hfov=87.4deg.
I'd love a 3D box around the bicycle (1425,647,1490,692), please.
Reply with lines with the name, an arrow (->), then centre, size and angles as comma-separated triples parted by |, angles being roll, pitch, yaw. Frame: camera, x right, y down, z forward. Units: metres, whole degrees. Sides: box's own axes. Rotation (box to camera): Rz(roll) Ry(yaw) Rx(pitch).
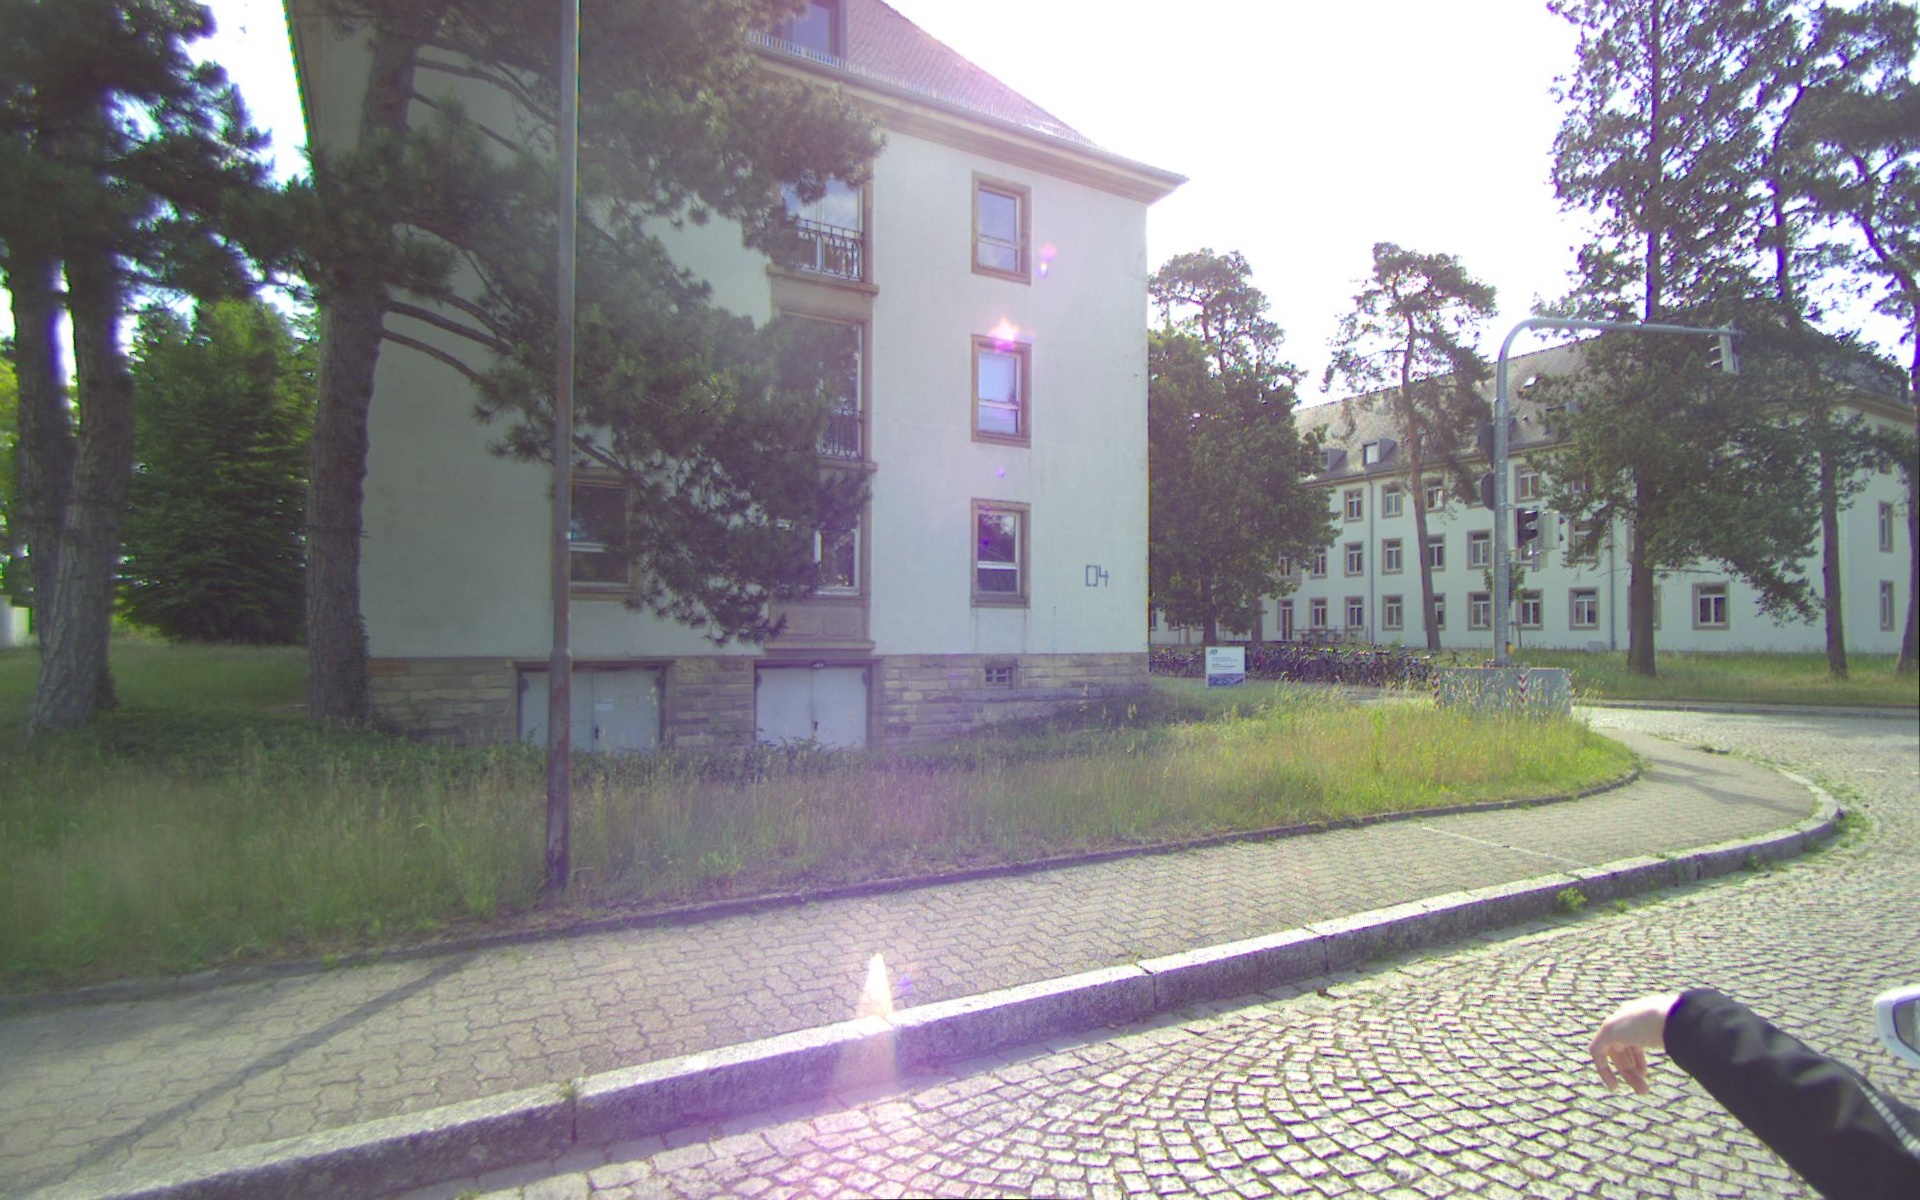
bicycle -> 14.277, 1.974, 28.788 | 2.090, 1.236, 0.630 | 1, -2, -31

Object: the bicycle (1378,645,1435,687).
bicycle -> 13.649, 2.002, 30.673 | 1.966, 1.236, 0.569 | 1, -2, -31

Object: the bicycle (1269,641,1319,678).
bicycle -> 11.568, 2.044, 34.809 | 1.915, 1.236, 0.511 | 1, -2, -31

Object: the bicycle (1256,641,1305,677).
bicycle -> 11.292, 2.050, 35.334 | 1.915, 1.236, 0.511 | 1, -2, -31

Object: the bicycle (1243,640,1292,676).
bicycle -> 10.983, 2.055, 35.859 | 1.915, 1.236, 0.511 | 1, -2, -31

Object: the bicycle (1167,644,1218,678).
bicycle -> 8.695, 2.260, 37.609 | 1.794, 1.236, 0.515 | -1, -2, 25

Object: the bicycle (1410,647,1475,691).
bicycle -> 14.033, 1.979, 29.204 | 2.099, 1.236, 0.630 | 1, -2, -31

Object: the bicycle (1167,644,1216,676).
bicycle -> 8.991, 2.334, 39.073 | 1.792, 1.236, 0.516 | 0, -2, 7

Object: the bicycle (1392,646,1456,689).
bicycle -> 13.742, 1.985, 29.733 | 2.080, 1.236, 0.630 | 1, -2, -31

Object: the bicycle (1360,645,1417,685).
bicycle -> 13.392, 2.013, 31.389 | 2.006, 1.236, 0.576 | 1, -2, -31

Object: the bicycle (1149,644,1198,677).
bicycle -> 8.195, 2.312, 38.605 | 1.792, 1.236, 0.516 | 0, -2, 7

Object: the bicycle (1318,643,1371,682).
bicycle -> 12.626, 2.030, 32.947 | 1.954, 1.236, 0.511 | 1, -2, -31

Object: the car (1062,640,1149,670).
car -> 6.289, 2.351, 43.268 | 3.549, 1.227, 1.504 | 1, -2, -29

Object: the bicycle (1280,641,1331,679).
bicycle -> 11.817, 2.038, 34.323 | 1.915, 1.236, 0.511 | 1, -2, -31

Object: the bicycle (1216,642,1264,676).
bicycle -> 10.332, 2.161, 37.028 | 1.915, 1.236, 0.511 | 1, -2, -31

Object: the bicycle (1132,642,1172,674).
bicycle -> 7.770, 2.335, 40.625 | 1.813, 1.236, 0.510 | 2, -2, -39

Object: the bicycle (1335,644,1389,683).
bicycle -> 12.984, 2.025, 32.407 | 1.992, 1.236, 0.511 | 1, -2, -31

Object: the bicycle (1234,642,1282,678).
bicycle -> 10.757, 2.152, 36.262 | 1.915, 1.236, 0.511 | 1, -2, -31

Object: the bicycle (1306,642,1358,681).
bicycle -> 12.366, 2.031, 33.394 | 1.954, 1.236, 0.511 | 1, -2, -31

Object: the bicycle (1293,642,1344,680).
bicycle -> 12.080, 2.033, 33.835 | 1.931, 1.236, 0.511 | 1, -2, -31

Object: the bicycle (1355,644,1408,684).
bicycle -> 13.469, 2.025, 32.101 | 1.878, 1.236, 0.545 | 1, -2, -31

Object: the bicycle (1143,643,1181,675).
bicycle -> 8.082, 2.329, 40.106 | 1.815, 1.236, 0.510 | 2, -2, -41

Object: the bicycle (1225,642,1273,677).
bicycle -> 10.546, 2.156, 36.635 | 1.915, 1.236, 0.511 | 1, -2, -31

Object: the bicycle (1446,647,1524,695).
bicycle -> 14.251, 1.901, 27.310 | 0.627, 1.236, 1.853 | 1, -2, -29

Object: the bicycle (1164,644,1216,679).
bicycle -> 8.459, 2.252, 37.005 | 1.794, 1.236, 0.515 | -1, -2, 25
